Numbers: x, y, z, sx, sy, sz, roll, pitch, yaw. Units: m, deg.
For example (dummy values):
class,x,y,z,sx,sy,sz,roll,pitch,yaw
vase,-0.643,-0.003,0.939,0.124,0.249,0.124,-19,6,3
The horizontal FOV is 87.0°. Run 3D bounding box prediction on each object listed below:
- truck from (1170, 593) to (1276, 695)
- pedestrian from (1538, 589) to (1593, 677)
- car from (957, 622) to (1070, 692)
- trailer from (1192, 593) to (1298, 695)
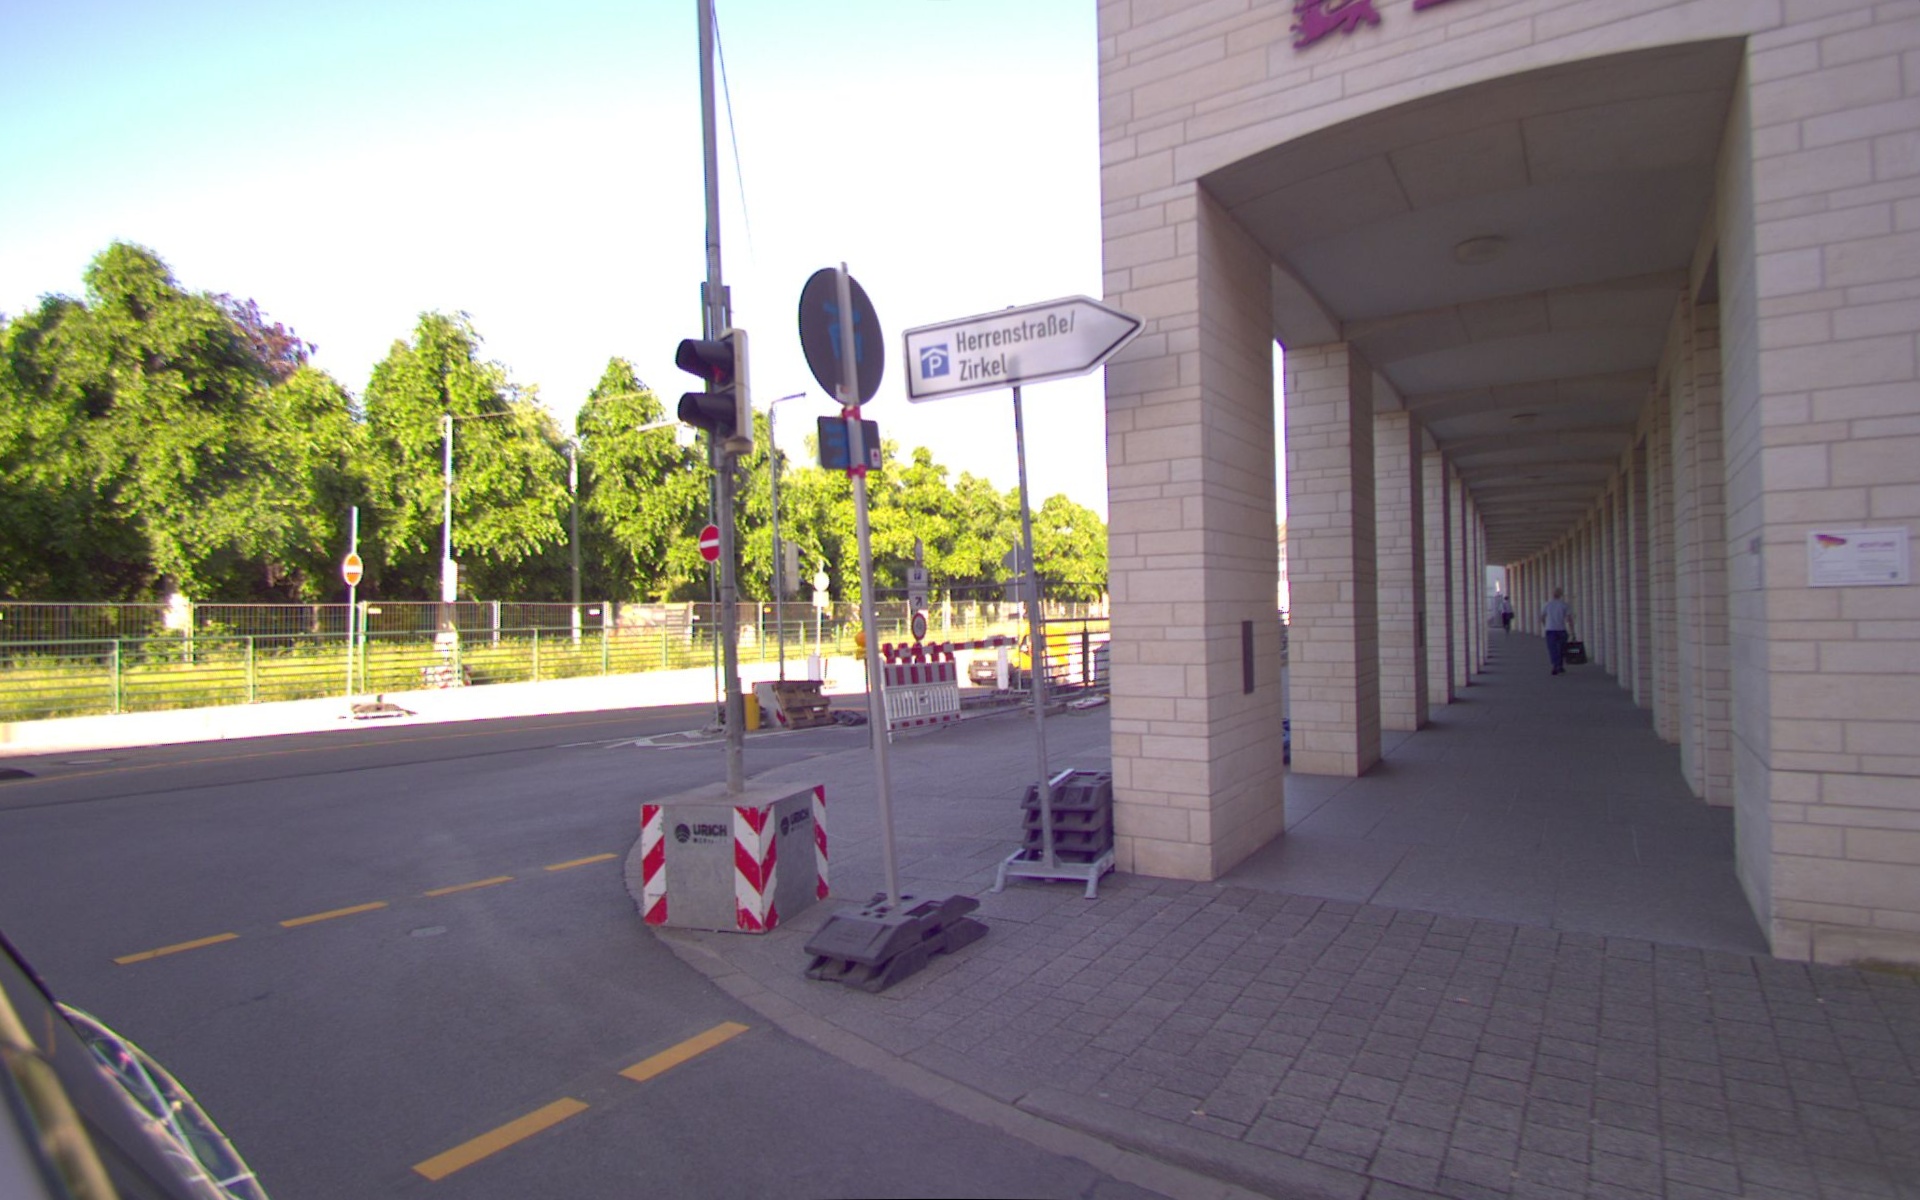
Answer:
class,x,y,z,sx,sy,sz,roll,pitch,yaw
truck,10.119,1.698,38.488,2.576,3.516,5.760,2,-3,28
pedestrian,12.004,0.653,20.065,0.857,1.698,0.869,-2,-2,34
car,2.370,2.380,41.890,2.108,2.645,6.923,-2,-4,26
trailer,12.084,1.885,42.268,2.637,3.697,8.670,2,-2,26
